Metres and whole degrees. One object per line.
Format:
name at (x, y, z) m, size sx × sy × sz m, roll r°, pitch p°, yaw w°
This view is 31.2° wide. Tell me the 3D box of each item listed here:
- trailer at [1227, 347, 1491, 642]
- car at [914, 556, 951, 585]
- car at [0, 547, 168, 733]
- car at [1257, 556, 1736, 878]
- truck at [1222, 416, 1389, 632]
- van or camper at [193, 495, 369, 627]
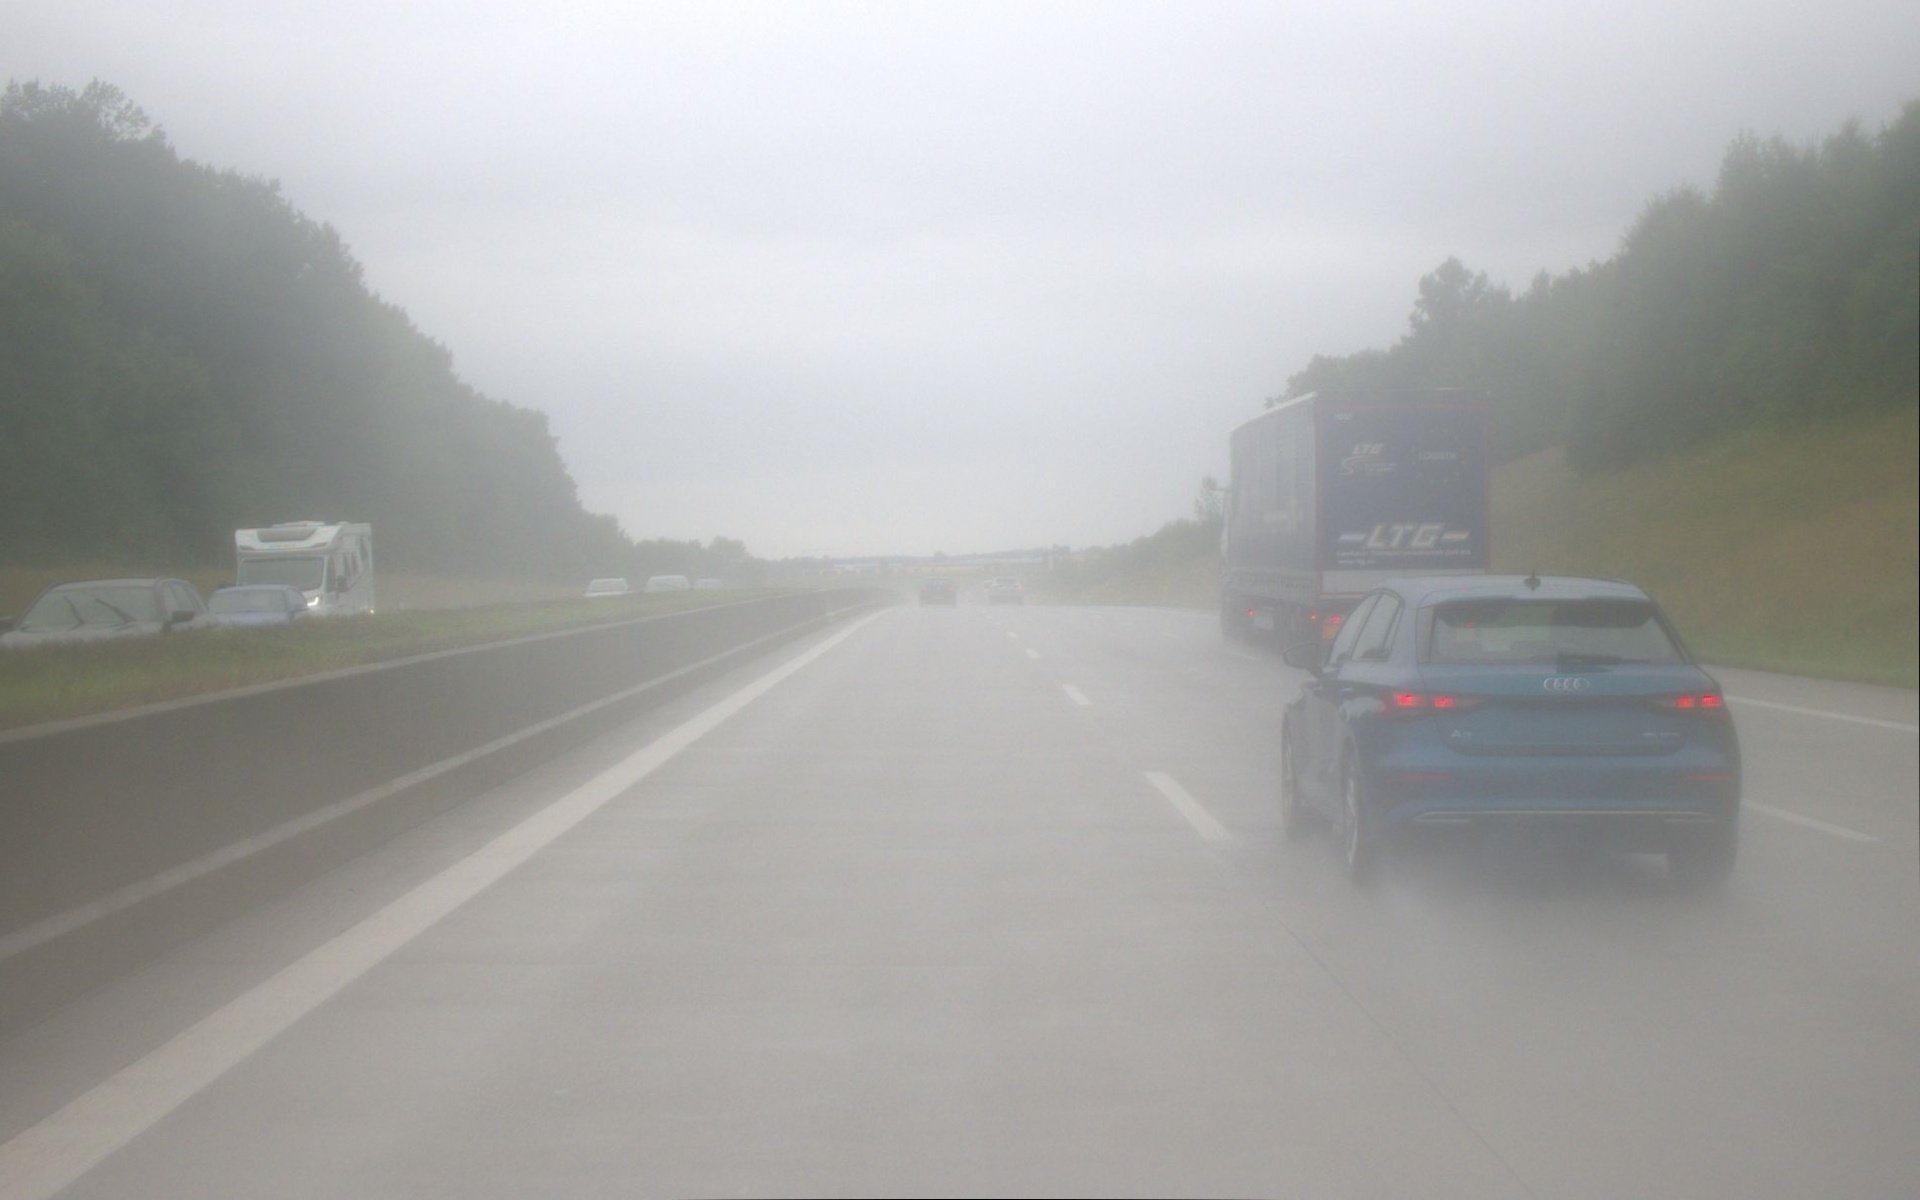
trailer at (6.528, -1.607, 58.776) m, size 2.706 × 4.364 × 15.204 m, roll 1°, pitch 0°, yaw 0°
car at (-1.324, -1.425, 163.043) m, size 1.729 × 1.326 × 4.430 m, roll 0°, pitch 1°, yaw -1°
car at (-9.126, 0.342, 33.614) m, size 1.760 × 1.681 × 4.455 m, roll -1°, pitch 1°, yaw -1°
car at (2.669, 0.555, 18.136) m, size 1.729 × 1.454 × 4.672 m, roll -1°, pitch 0°, yaw -1°
truck at (6.563, -1.420, 65.988) m, size 2.636 × 3.940 × 5.686 m, roll 1°, pitch 0°, yaw 0°
van or camper at (-15.016, -0.833, 76.520) m, size 2.412 × 2.726 × 7.714 m, roll -2°, pitch 0°, yaw -1°
